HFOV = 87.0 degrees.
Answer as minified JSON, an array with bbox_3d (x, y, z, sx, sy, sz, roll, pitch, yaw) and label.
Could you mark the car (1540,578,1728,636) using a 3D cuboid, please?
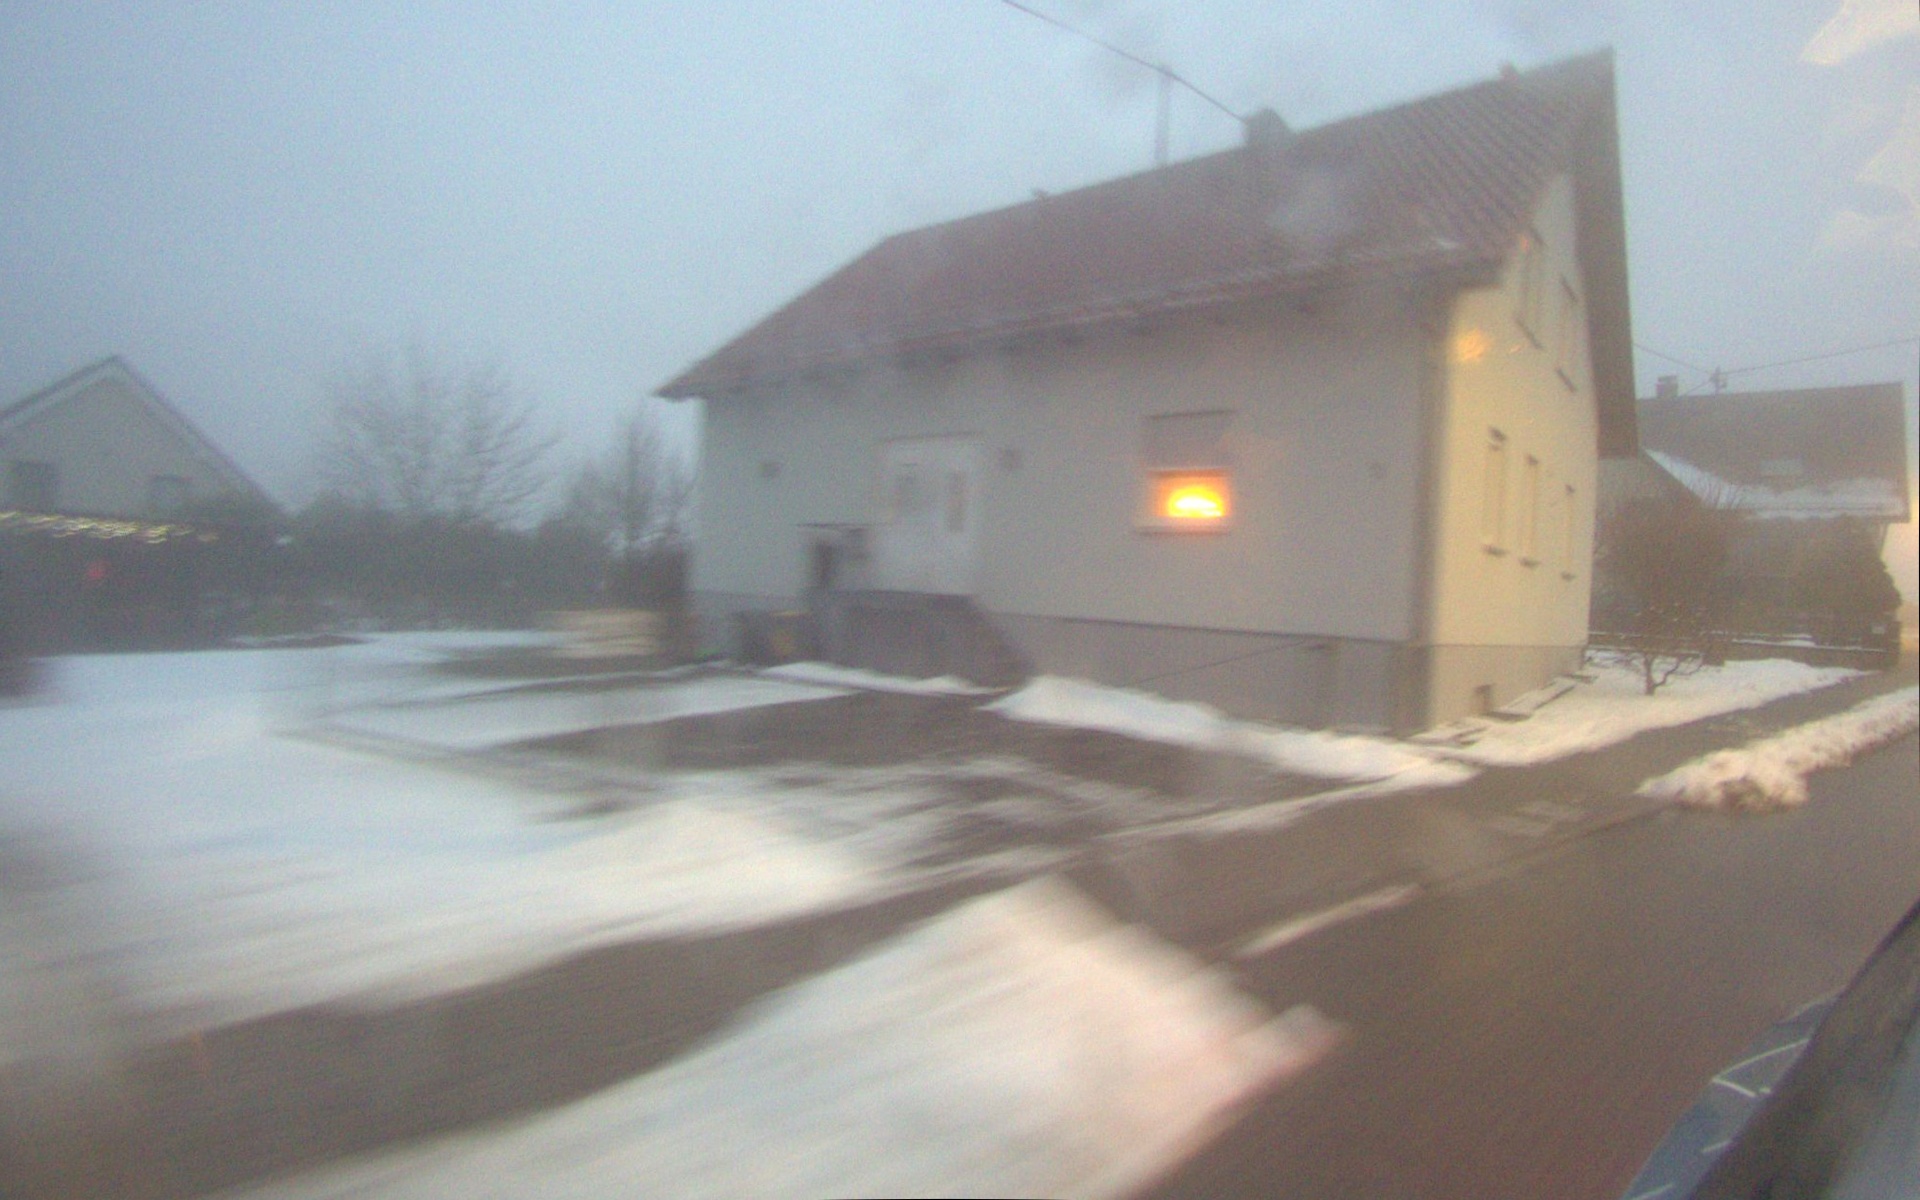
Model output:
[{"bbox_3d":[19.870,0.175,29.922,4.441,1.607,1.971,0,1,40],"label":"car"}]
